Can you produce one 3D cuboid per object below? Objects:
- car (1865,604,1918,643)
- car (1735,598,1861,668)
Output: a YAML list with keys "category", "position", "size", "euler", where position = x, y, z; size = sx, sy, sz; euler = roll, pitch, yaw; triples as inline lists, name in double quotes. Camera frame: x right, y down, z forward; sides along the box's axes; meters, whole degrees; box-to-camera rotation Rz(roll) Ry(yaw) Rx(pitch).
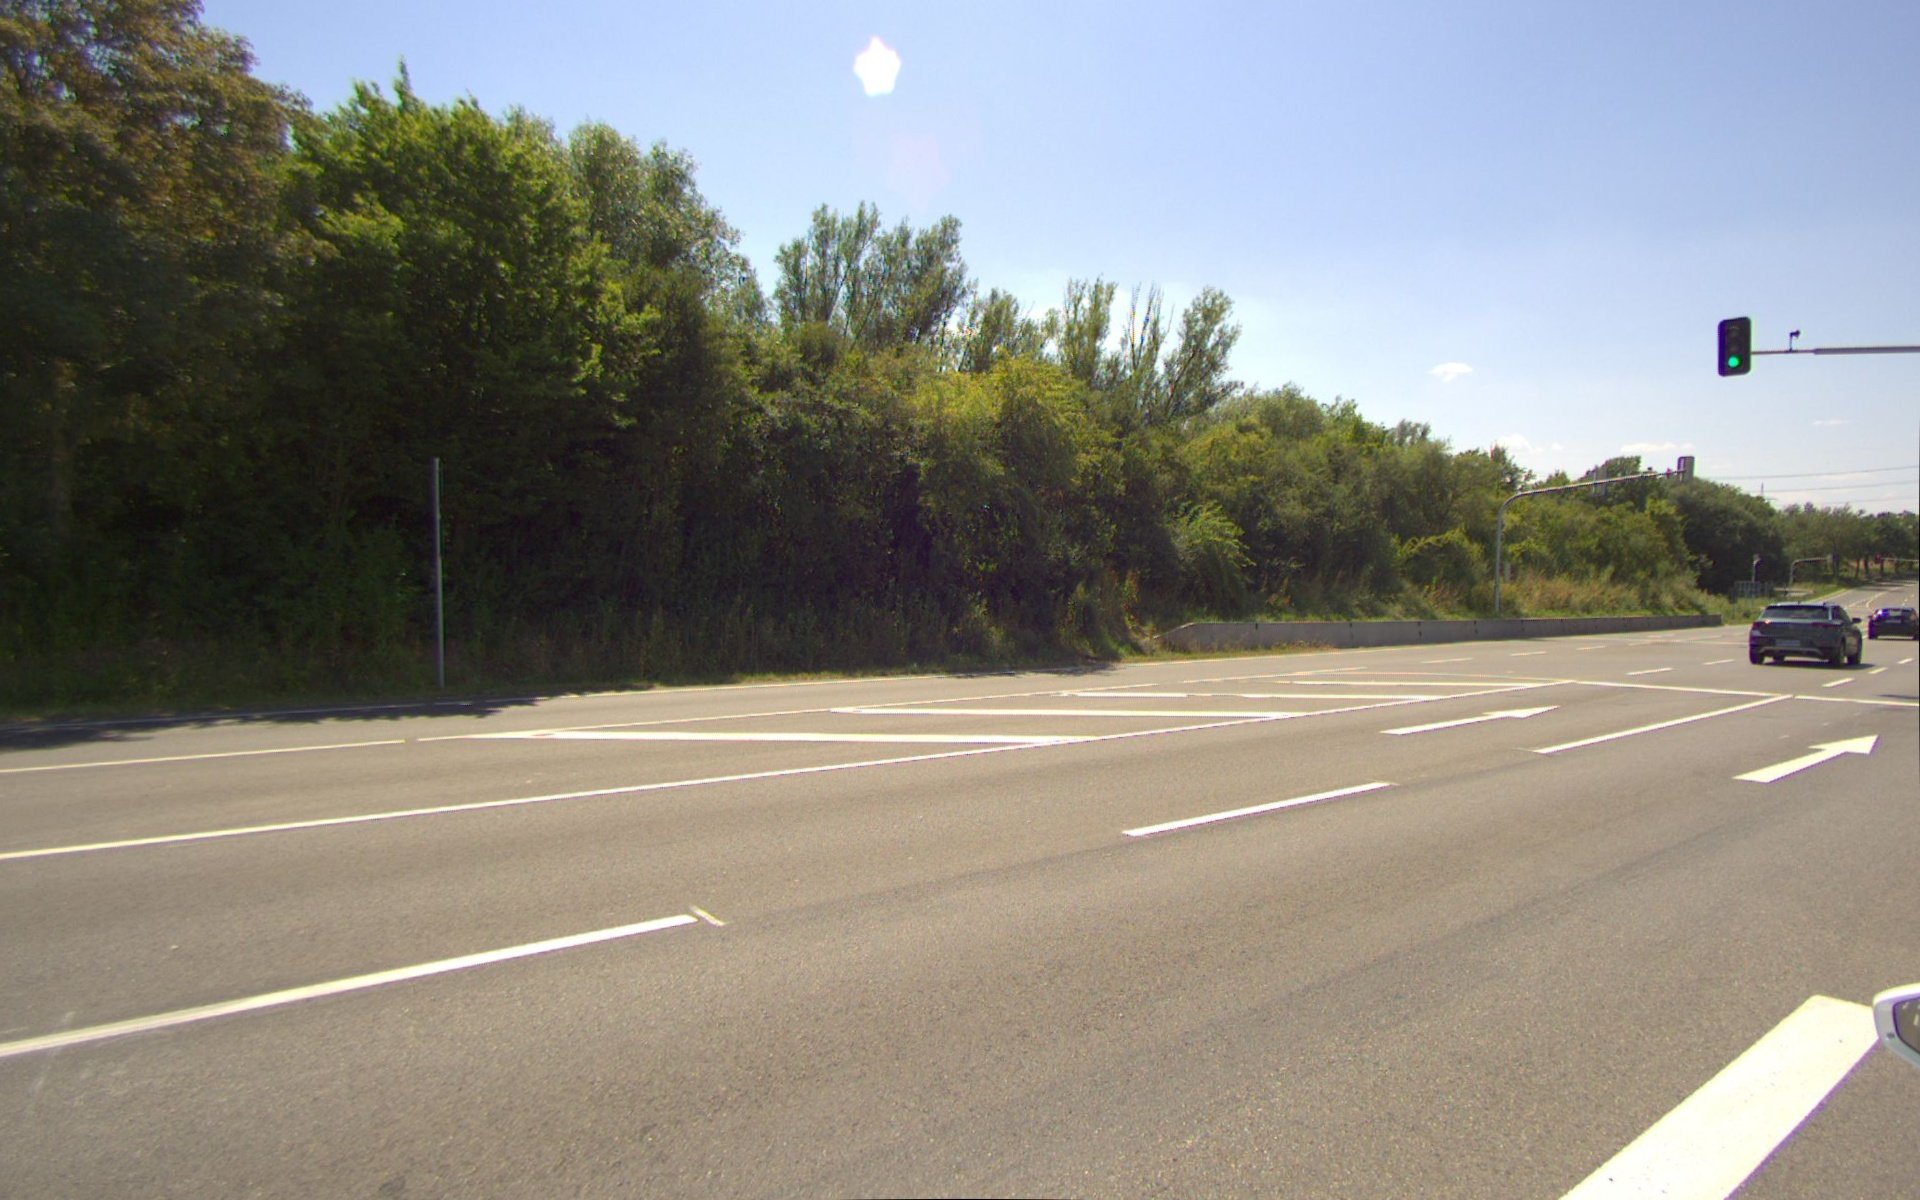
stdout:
- category: "car"
  position: [41.651, 1.010, 44.926]
  size: [1.635, 1.514, 4.183]
  euler: [2, 3, 43]
- category: "car"
  position: [21.256, 0.775, 25.412]
  size: [4.357, 1.608, 1.818]
  euler: [0, 0, -42]
